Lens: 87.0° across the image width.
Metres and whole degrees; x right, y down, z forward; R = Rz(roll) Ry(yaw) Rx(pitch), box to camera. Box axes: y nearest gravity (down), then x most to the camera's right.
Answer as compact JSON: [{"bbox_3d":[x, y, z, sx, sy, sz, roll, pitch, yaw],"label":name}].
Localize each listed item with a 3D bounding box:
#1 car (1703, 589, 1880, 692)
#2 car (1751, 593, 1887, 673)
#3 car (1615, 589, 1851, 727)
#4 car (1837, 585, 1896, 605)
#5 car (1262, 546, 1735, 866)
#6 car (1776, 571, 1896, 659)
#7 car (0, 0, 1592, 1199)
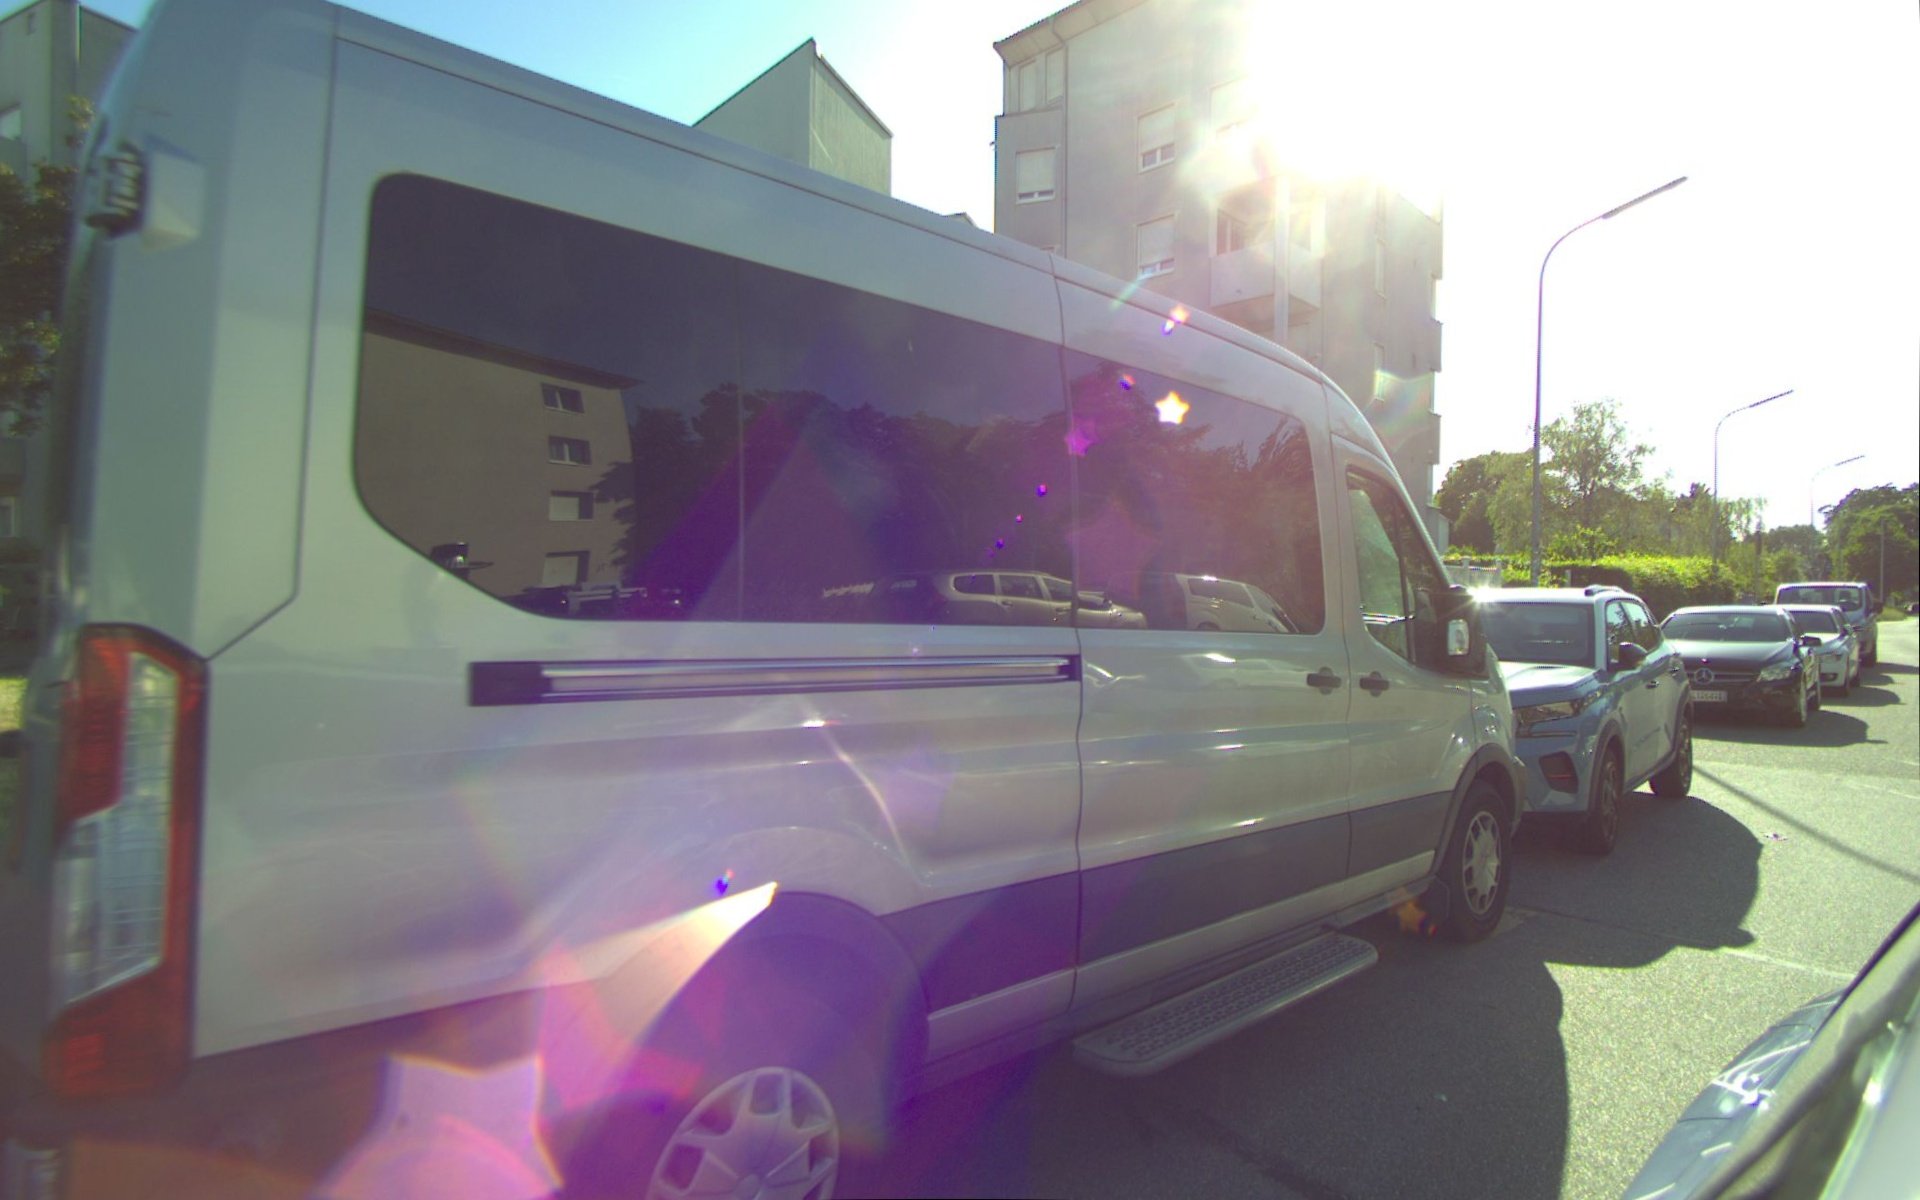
[{"bbox_3d":[14.412,0.591,17.462,4.303,1.507,1.911,0,2,-45],"label":"car"},{"bbox_3d":[18.252,0.602,21.437,1.993,1.434,4.848,2,2,42],"label":"car"},{"bbox_3d":[10.424,0.635,13.525,4.303,1.507,1.911,0,2,-45],"label":"car"},{"bbox_3d":[81.836,-0.456,91.406,3.590,1.738,1.745,1,1,9],"label":"car"},{"bbox_3d":[4.205,0.519,7.539,4.303,1.687,1.911,0,2,-45],"label":"car"},{"bbox_3d":[21.693,0.298,24.997,1.994,1.936,4.875,2,2,44],"label":"car"},{"bbox_3d":[0.261,0.176,3.842,5.755,2.518,2.108,0,0,-42],"label":"car"}]
